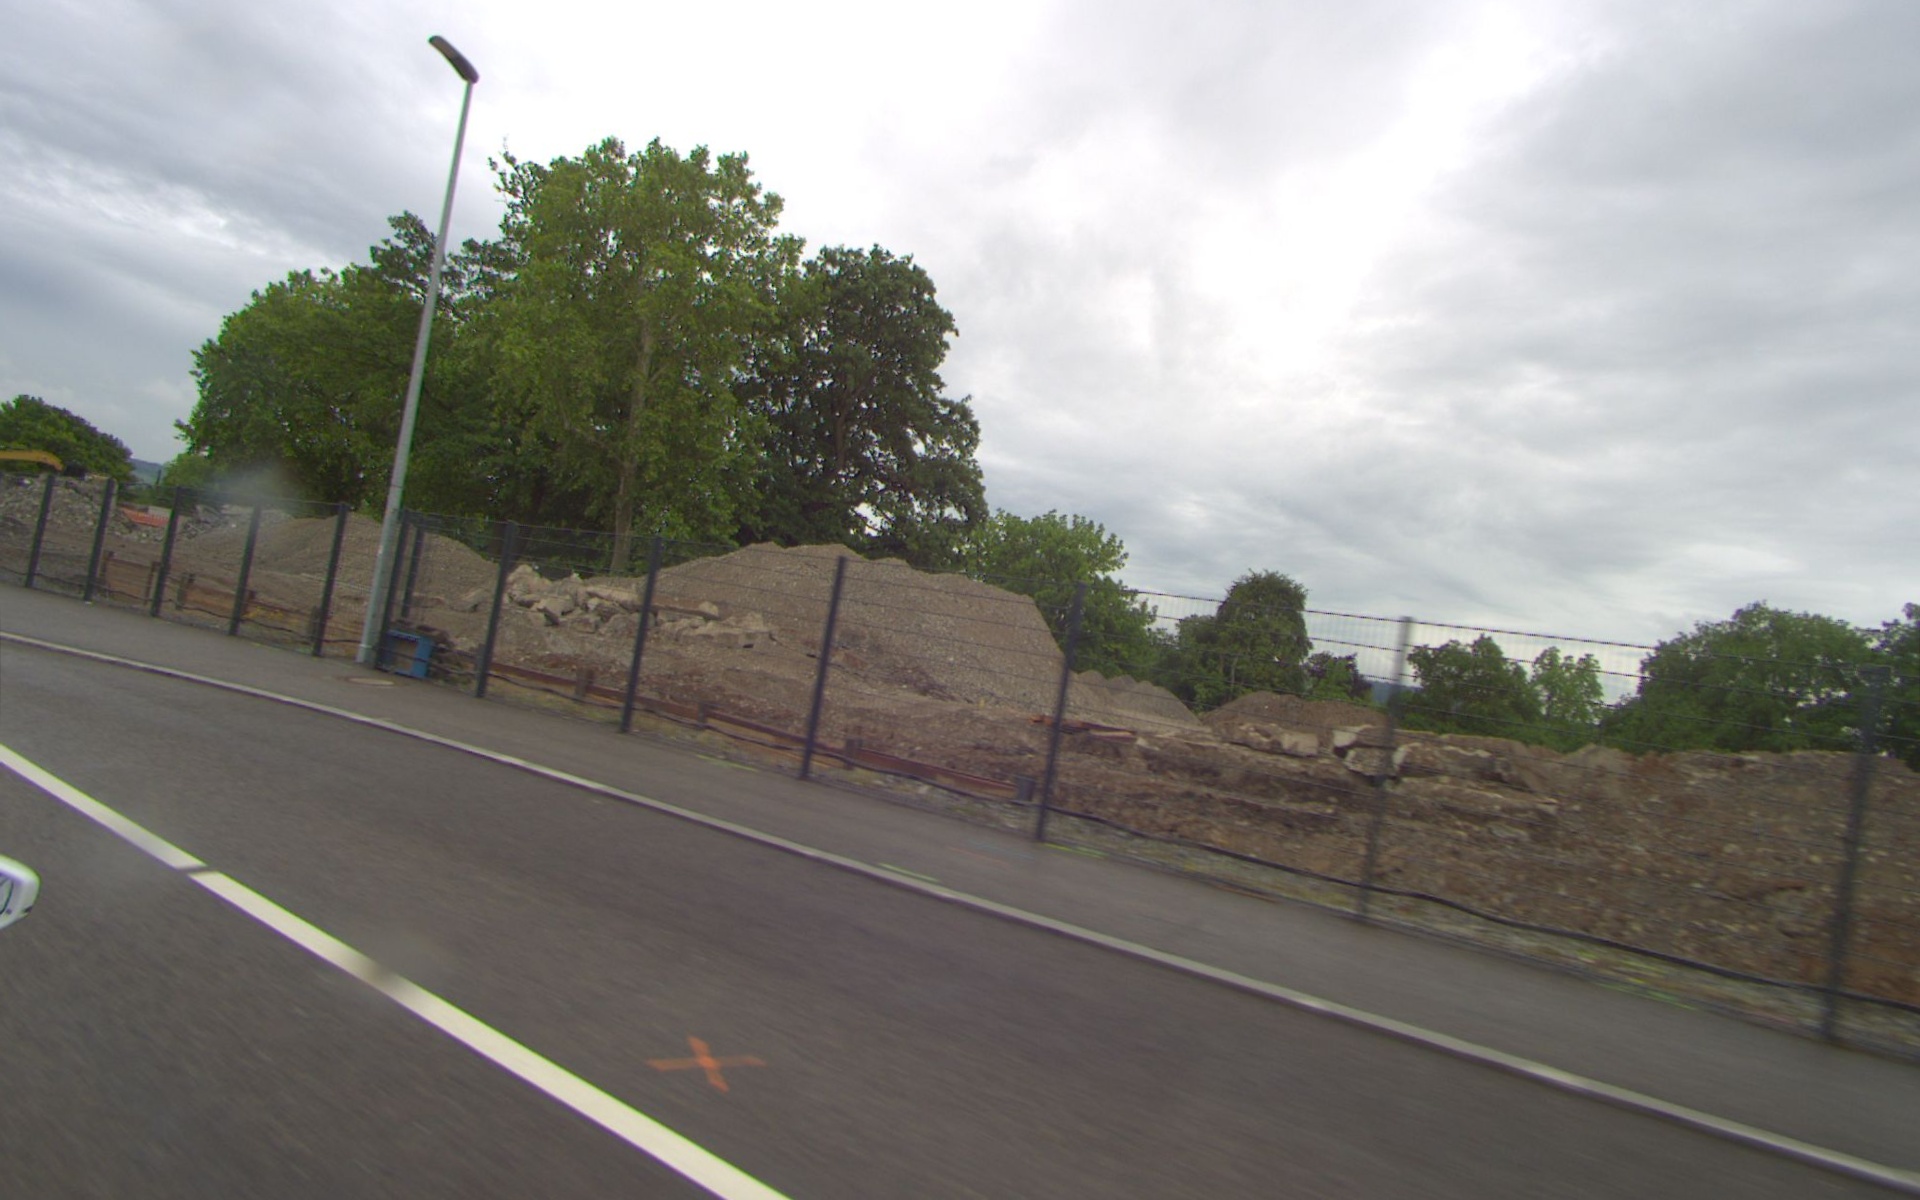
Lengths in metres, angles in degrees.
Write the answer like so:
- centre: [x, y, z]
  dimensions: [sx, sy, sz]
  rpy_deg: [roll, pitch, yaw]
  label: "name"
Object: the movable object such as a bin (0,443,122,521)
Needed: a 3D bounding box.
- centre: [-94.911, -12.283, 104.312]
  dimensions: [3.439, 6.062, 11.240]
  rpy_deg: [6, -3, 37]
  label: "movable object such as a bin"
